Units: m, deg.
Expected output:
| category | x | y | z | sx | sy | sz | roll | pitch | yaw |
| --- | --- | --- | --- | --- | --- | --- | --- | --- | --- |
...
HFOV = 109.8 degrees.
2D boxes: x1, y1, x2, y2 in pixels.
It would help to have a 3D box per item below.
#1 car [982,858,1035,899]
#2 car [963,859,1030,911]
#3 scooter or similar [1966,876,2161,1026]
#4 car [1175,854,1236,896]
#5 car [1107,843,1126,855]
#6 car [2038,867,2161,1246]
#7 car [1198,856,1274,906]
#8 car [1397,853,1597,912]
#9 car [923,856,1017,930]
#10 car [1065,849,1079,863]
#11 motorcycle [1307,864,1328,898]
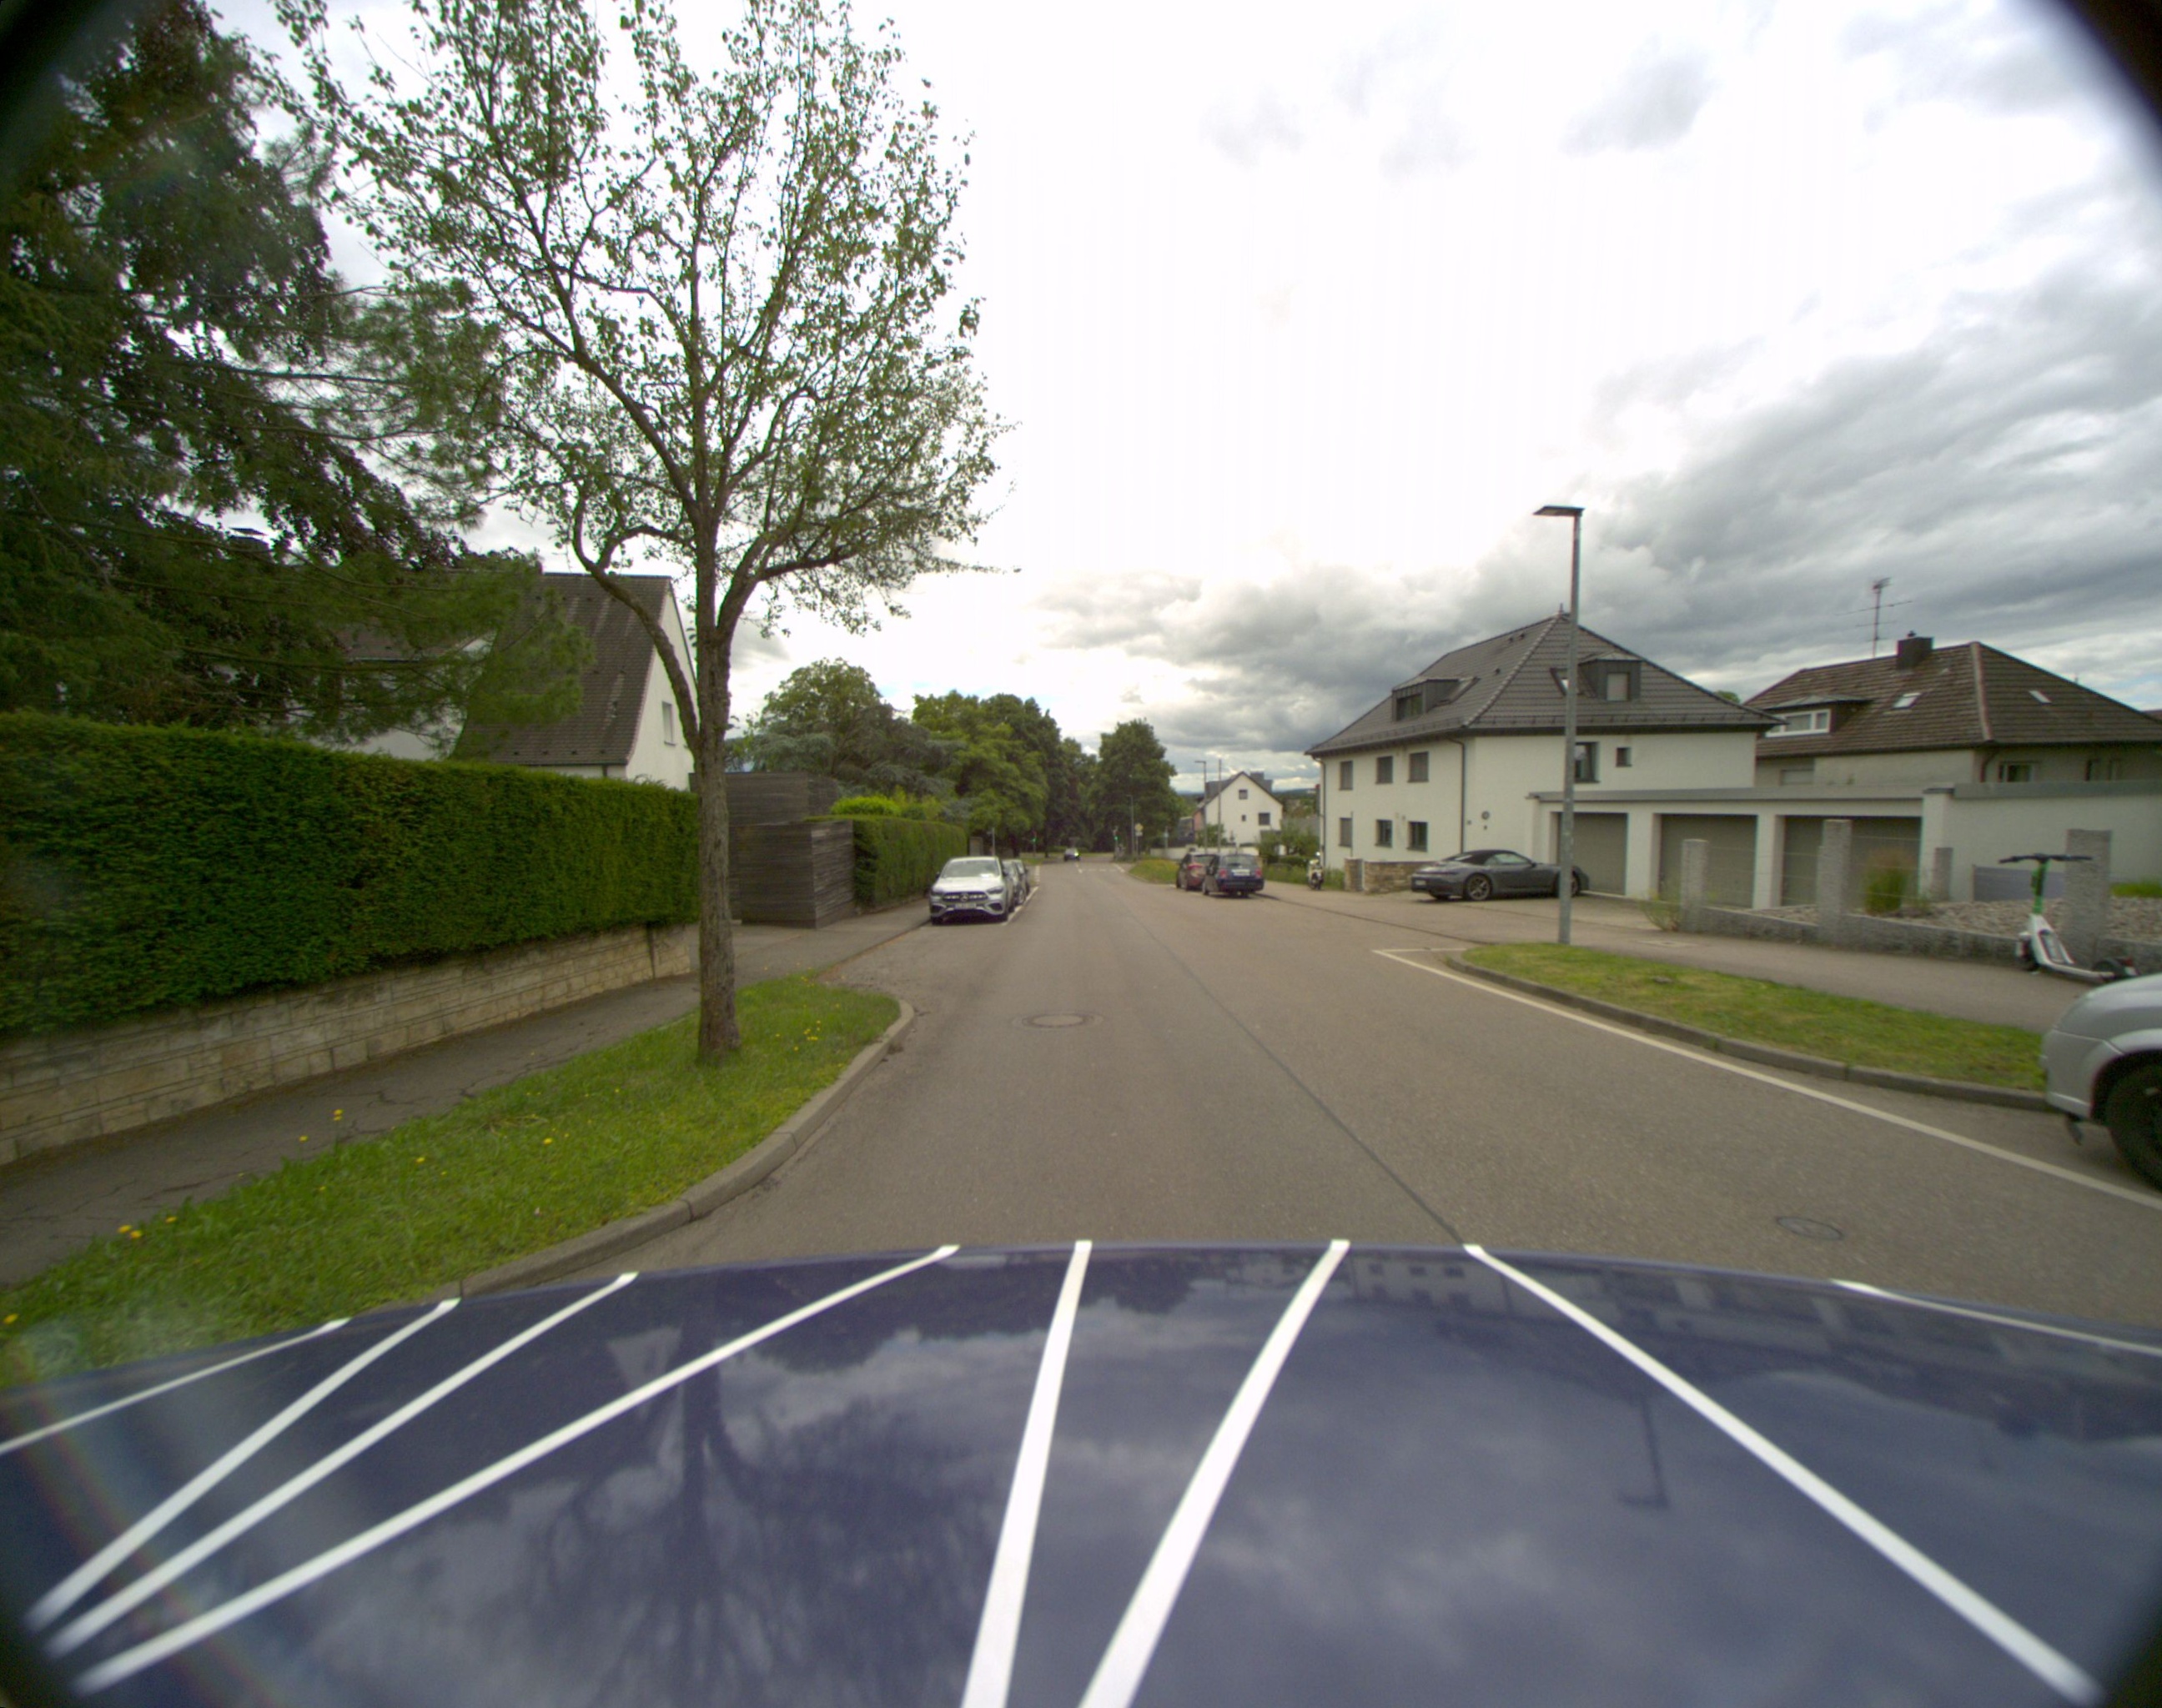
| category | x | y | z | sx | sy | sz | roll | pitch | yaw |
| --- | --- | --- | --- | --- | --- | --- | --- | --- | --- |
| car | -2.890 | 0.944 | 31.142 | 1.860 | 1.455 | 3.999 | -2 | 1 | -2 |
| car | -2.707 | 0.962 | 25.217 | 1.860 | 1.455 | 4.170 | -2 | 1 | -2 |
| scooter or similar | 8.927 | 0.815 | 6.854 | 0.475 | 1.142 | 1.456 | -3 | 0 | 16 |
| car | 5.094 | 0.836 | 31.498 | 1.882 | 1.576 | 3.871 | -1 | 0 | 0 |
| car | 5.223 | -0.721 | 112.177 | 1.996 | 1.543 | 4.003 | 1 | 3 | 14 |
| car | 5.353 | 0.840 | 1.619 | 1.765 | 1.554 | 3.855 | -1 | 0 | 0 |
| car | 5.264 | 0.876 | 26.227 | 1.882 | 1.527 | 3.507 | -1 | 0 | 0 |
| car | 10.905 | 0.724 | 20.095 | 4.299 | 1.359 | 1.903 | -2 | 0 | -6 |
| car | -2.710 | 0.908 | 19.465 | 1.860 | 1.573 | 4.170 | -2 | 1 | -2 |
| car | -1.039 | 0.225 | 89.928 | 1.569 | 1.504 | 3.396 | -1 | 0 | -1 |
| motorcycle | 8.682 | 0.971 | 27.917 | 0.430 | 1.154 | 1.863 | 0 | 2 | 8 |
